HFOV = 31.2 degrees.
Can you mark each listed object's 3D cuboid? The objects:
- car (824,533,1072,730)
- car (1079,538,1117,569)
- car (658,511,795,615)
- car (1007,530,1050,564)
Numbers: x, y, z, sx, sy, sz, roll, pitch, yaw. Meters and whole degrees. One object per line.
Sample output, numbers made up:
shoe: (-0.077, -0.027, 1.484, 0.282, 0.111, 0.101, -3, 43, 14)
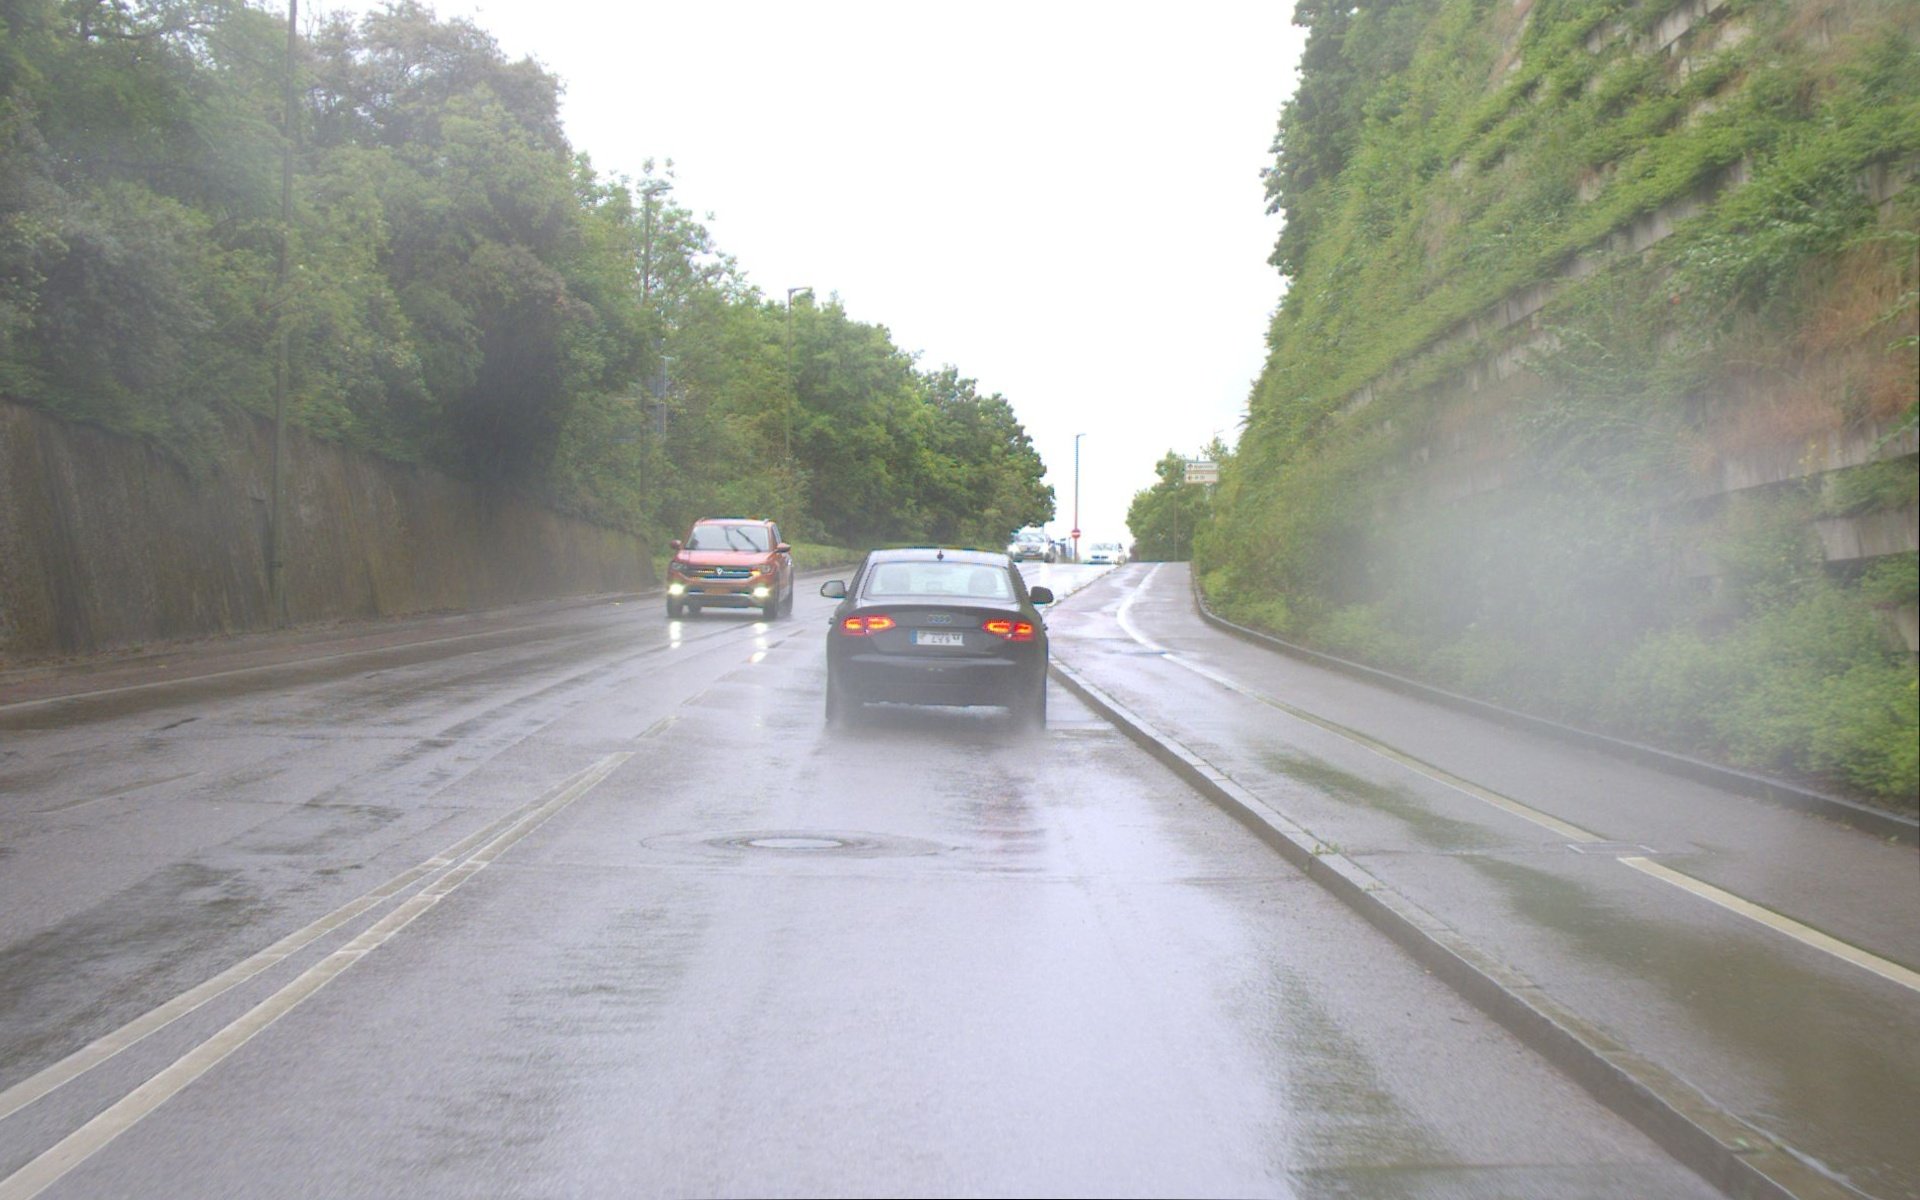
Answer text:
car: (-0.054, 0.240, 28.544, 1.893, 1.487, 4.207, 1, 0, 1)
car: (7.555, -2.515, 187.737, 1.823, 1.609, 4.092, 1, 0, 6)
car: (-3.750, -0.597, 55.725, 1.733, 1.612, 4.000, 1, 1, 3)
car: (3.106, -2.384, 155.890, 1.865, 1.444, 4.377, -1, 0, 2)
